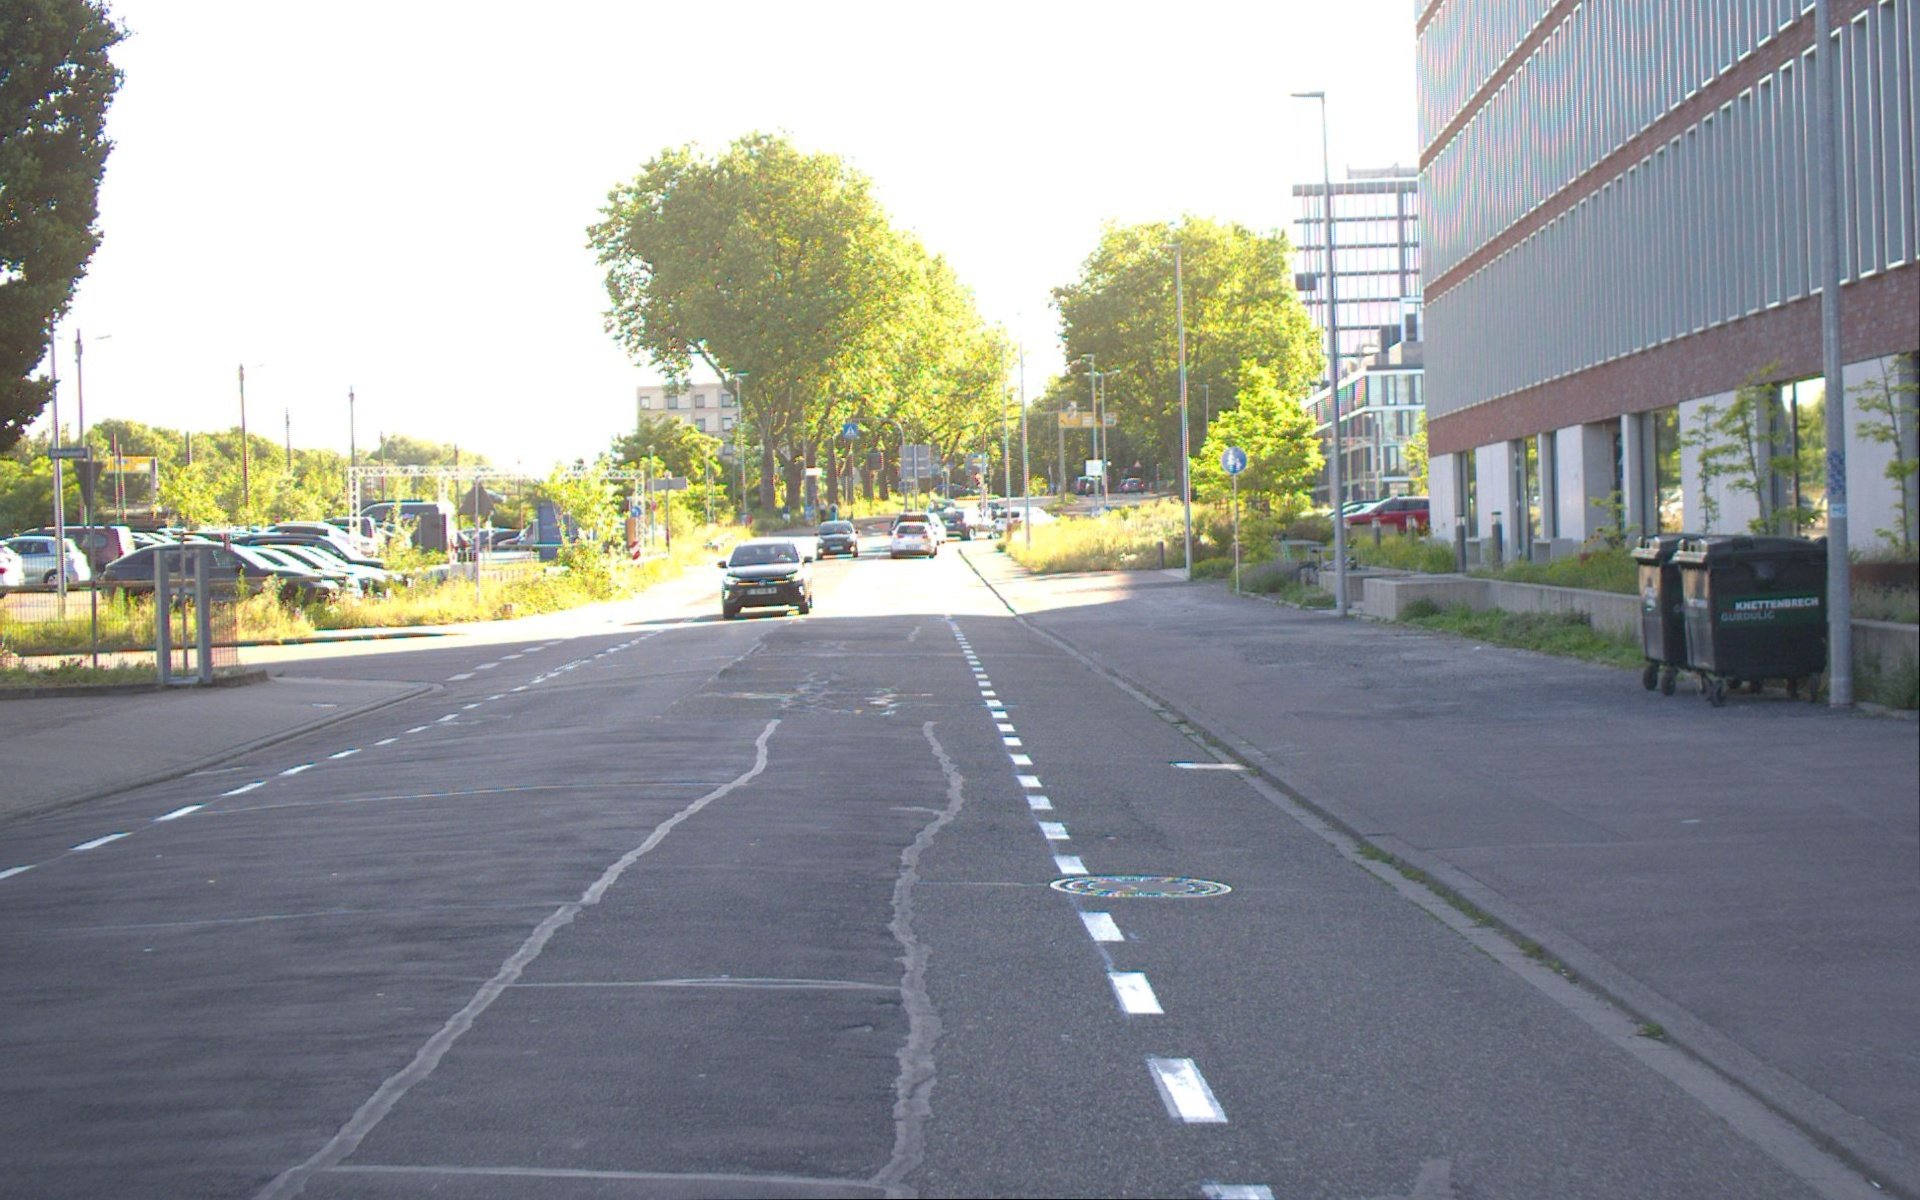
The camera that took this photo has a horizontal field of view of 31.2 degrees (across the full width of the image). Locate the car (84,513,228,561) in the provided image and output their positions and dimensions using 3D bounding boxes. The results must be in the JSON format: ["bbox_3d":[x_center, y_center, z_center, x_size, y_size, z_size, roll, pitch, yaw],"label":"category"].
[{"bbox_3d":[-26.600,-2.082,113.850,4.321,1.518,1.878,0,2,0],"label":"car"}]

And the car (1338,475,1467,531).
[{"bbox_3d":[15.106,-3.306,117.549,4.184,1.575,1.851,-1,-6,3],"label":"car"}]

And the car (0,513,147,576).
[{"bbox_3d":[-26.293,-1.629,100.547,4.576,1.799,1.857,0,2,0],"label":"car"}]

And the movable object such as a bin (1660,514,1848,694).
[{"bbox_3d":[6.309,0.014,27.390,1.128,1.367,1.345,-1,1,-1],"label":"movable object such as a bin"}]

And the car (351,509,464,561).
[{"bbox_3d":[-26.737,-3.152,166.466,5.096,2.451,2.320,0,2,-1],"label":"car"}]

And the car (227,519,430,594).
[{"bbox_3d":[-15.034,-1.046,82.020,4.428,1.664,2.049,-1,1,1],"label":"car"}]

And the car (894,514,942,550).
[{"bbox_3d":[-1.681,-2.763,138.878,1.790,1.415,4.000,-1,1,1],"label":"car"}]

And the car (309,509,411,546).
[{"bbox_3d":[-27.234,-3.313,156.156,4.321,1.612,1.878,0,2,-1],"label":"car"}]

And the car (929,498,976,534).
[{"bbox_3d":[-0.352,-4.086,167.831,2.163,1.678,4.000,-1,1,1],"label":"car"}]

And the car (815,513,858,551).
[{"bbox_3d":[-5.073,-2.797,141.554,1.654,1.498,4.000,-2,1,-1],"label":"car"}]

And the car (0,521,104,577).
[{"bbox_3d":[-26.873,-1.446,98.167,4.367,1.540,1.857,0,2,0],"label":"car"}]

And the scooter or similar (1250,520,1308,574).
[{"bbox_3d":[7.569,-1.265,81.589,1.340,1.241,0.423,-1,1,4],"label":"scooter or similar"}]

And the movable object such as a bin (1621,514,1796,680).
[{"bbox_3d":[6.286,-0.040,28.946,1.128,1.331,1.345,-1,1,-1],"label":"movable object such as a bin"}]

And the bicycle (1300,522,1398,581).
[{"bbox_3d":[7.915,-0.990,69.933,1.931,1.166,0.375,-1,1,-6],"label":"bicycle"}]

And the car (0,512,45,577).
[{"bbox_3d":[-25.879,-1.411,88.467,4.160,1.656,1.967,-1,1,-3],"label":"car"}]

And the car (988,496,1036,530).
[{"bbox_3d":[2.649,-4.382,173.125,2.164,1.678,4.000,-1,1,4],"label":"car"}]

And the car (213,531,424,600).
[{"bbox_3d":[-14.725,-0.806,79.052,4.428,1.456,2.049,-1,1,1],"label":"car"}]

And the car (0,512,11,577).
[{"bbox_3d":[-25.447,-1.316,83.717,4.159,1.573,2.049,-1,1,-4],"label":"car"}]

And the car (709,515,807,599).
[{"bbox_3d":[-4.104,-0.911,70.318,1.740,1.520,4.112,-5,2,-1],"label":"car"}]

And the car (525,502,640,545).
[{"bbox_3d":[-16.487,-3.341,150.350,4.845,1.828,2.000,0,2,-1],"label":"car"}]

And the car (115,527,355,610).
[{"bbox_3d":[-14.800,-0.660,70.316,4.428,1.575,2.049,-1,1,1],"label":"car"}]

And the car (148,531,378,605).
[{"bbox_3d":[-14.810,-0.696,73.222,4.428,1.456,2.049,-1,1,1],"label":"car"}]

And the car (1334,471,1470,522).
[{"bbox_3d":[14.206,-3.341,110.663,4.184,1.575,1.852,0,2,3],"label":"car"}]

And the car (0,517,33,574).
[{"bbox_3d":[-25.566,-1.346,86.160,4.159,1.392,2.049,-1,1,-4],"label":"car"}]
